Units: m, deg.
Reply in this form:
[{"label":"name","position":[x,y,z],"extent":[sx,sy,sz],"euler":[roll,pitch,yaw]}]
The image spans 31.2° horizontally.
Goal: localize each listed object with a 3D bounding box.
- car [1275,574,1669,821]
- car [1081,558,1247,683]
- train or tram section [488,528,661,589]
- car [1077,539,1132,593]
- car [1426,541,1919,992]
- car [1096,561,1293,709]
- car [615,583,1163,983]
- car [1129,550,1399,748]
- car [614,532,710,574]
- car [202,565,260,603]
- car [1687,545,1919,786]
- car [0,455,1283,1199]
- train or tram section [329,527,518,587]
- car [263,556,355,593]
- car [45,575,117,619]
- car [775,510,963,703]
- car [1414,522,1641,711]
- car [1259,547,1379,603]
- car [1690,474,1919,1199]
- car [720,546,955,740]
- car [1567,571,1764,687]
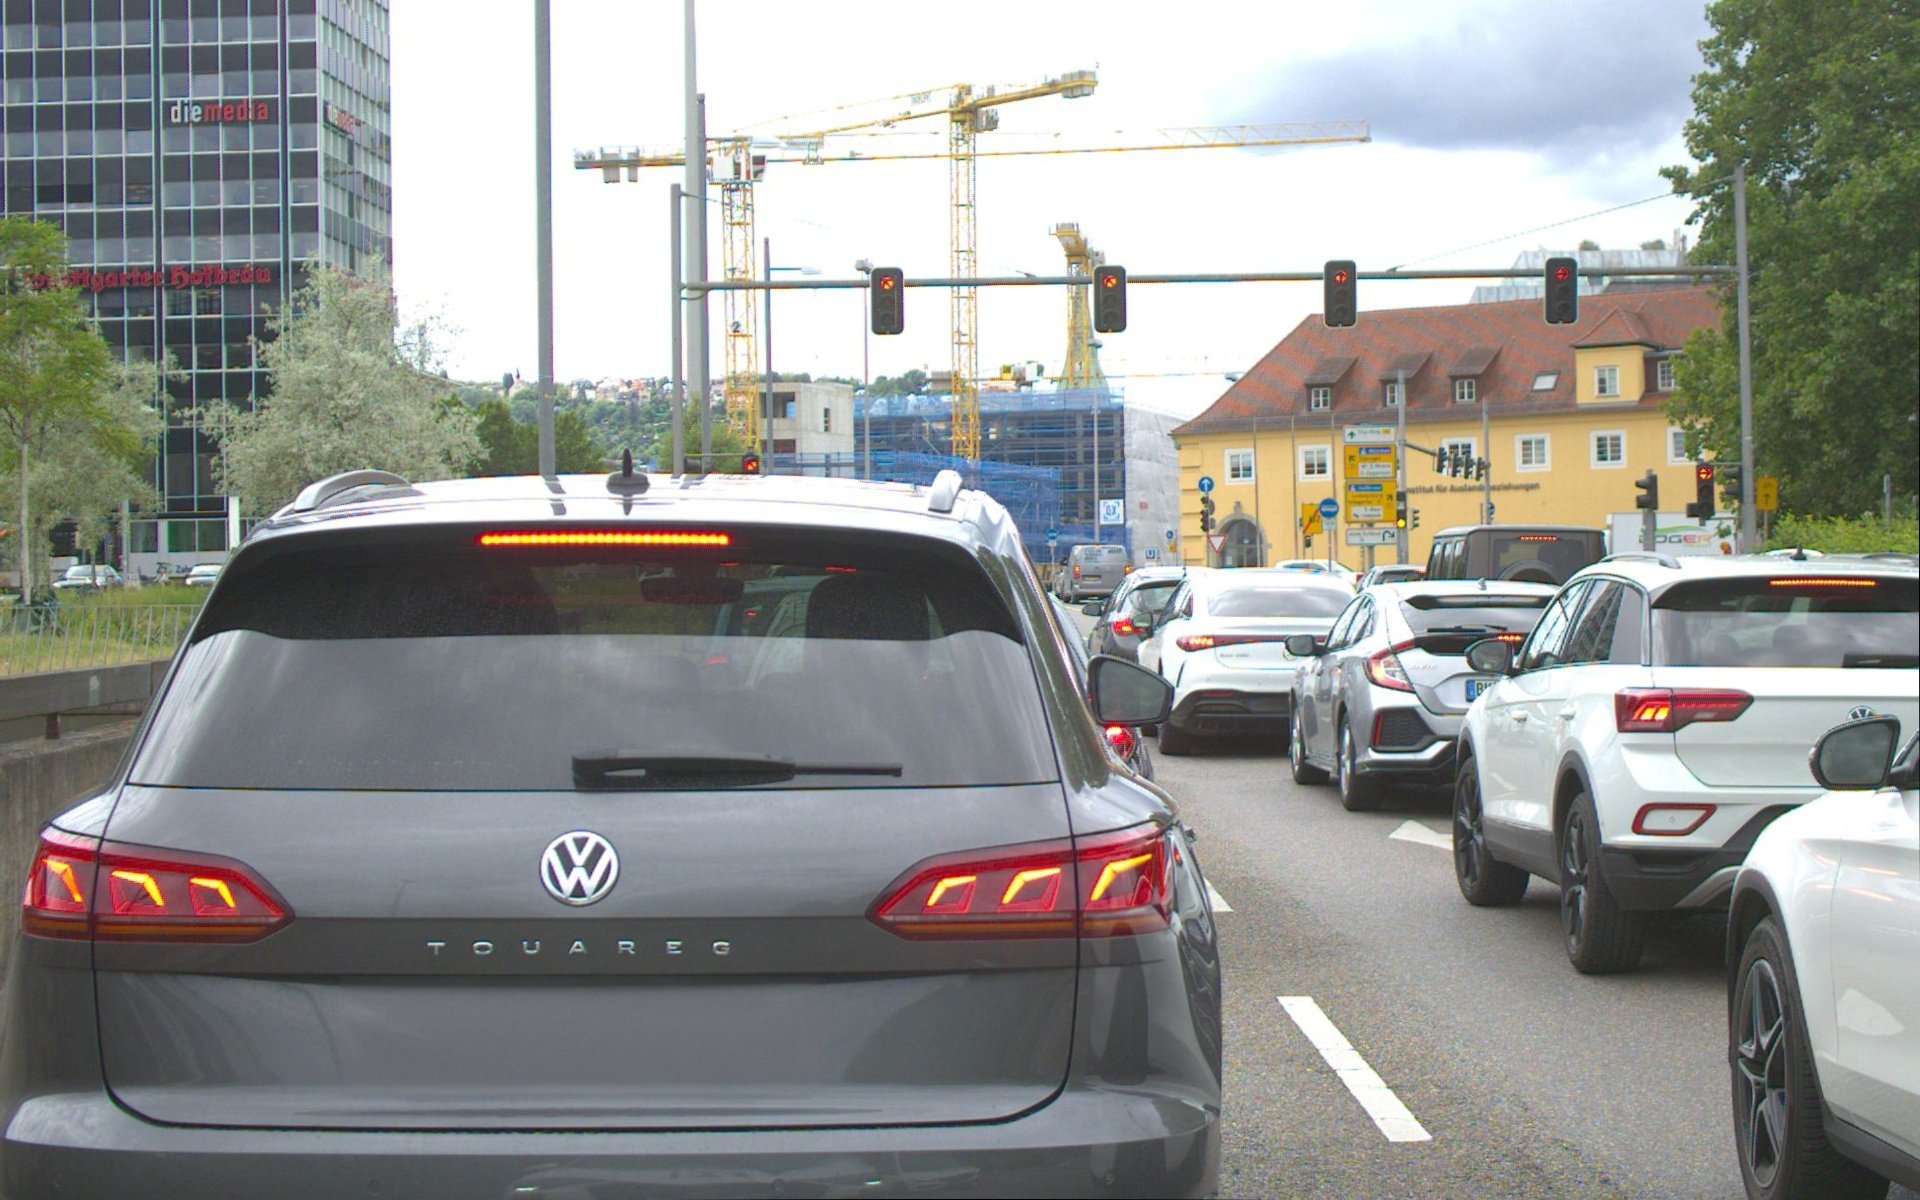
[{"label":"car","position":[3.179,0.563,22.219],"extent":[1.926,1.427,4.489],"euler":[0,0,1]},{"label":"car","position":[2.560,0.247,44.052],"extent":[1.926,1.524,4.047],"euler":[0,0,1]},{"label":"train or tram section","position":[-19.984,-2.168,178.171],"extent":[8.935,2.999,2.592],"euler":[1,-1,28]},{"label":"car","position":[4.671,-1.098,111.490],"extent":[1.619,1.622,4.000],"euler":[1,-1,0]},{"label":"car","position":[3.152,0.573,14.066],"extent":[1.926,1.545,4.489],"euler":[0,0,1]},{"label":"car","position":[2.517,0.365,37.764],"extent":[1.926,1.524,4.047],"euler":[0,0,1]},{"label":"car","position":[-0.284,0.653,14.419],"extent":[1.951,1.379,3.931],"euler":[1,1,-1]},{"label":"car","position":[2.471,0.375,28.943],"extent":[1.926,1.524,4.489],"euler":[0,0,1]},{"label":"car","position":[-14.968,-2.354,172.691],"extent":[4.454,2.007,1.996],"euler":[1,-1,34]},{"label":"car","position":[-29.965,-0.654,141.455],"extent":[1.732,1.489,3.595],"euler":[1,-1,-2]},{"label":"car","position":[6.787,0.410,25.541],"extent":[1.993,1.634,4.304],"euler":[0,1,2]},{"label":"car","position":[-0.567,0.605,6.682],"extent":[1.951,1.646,4.000],"euler":[0,1,-1]},{"label":"train or tram section","position":[-28.543,-2.310,182.727],"extent":[10.411,2.999,2.592],"euler":[1,-1,28]},{"label":"car","position":[-30.091,-1.183,158.877],"extent":[4.222,1.598,1.749],"euler":[1,0,36]},{"label":"car","position":[-31.113,-0.083,121.722],"extent":[1.732,1.489,3.595],"euler":[1,-1,-2]},{"label":"car","position":[-0.993,0.051,38.580],"extent":[1.951,2.011,3.931],"euler":[1,1,-1]},{"label":"car","position":[6.411,0.173,39.244],"extent":[1.910,2.007,4.012],"euler":[1,0,0]},{"label":"car","position":[13.560,-0.935,129.868],"extent":[3.994,2.007,1.932],"euler":[1,-1,30]},{"label":"car","position":[2.738,0.595,6.220],"extent":[1.926,1.648,4.490],"euler":[0,1,1]},{"label":"car","position":[-1.064,0.342,31.047],"extent":[1.951,1.594,3.931],"euler":[1,1,-1]},{"label":"car","position":[9.347,0.363,45.801],"extent":[1.757,1.442,3.634],"euler":[1,0,-2]}]
